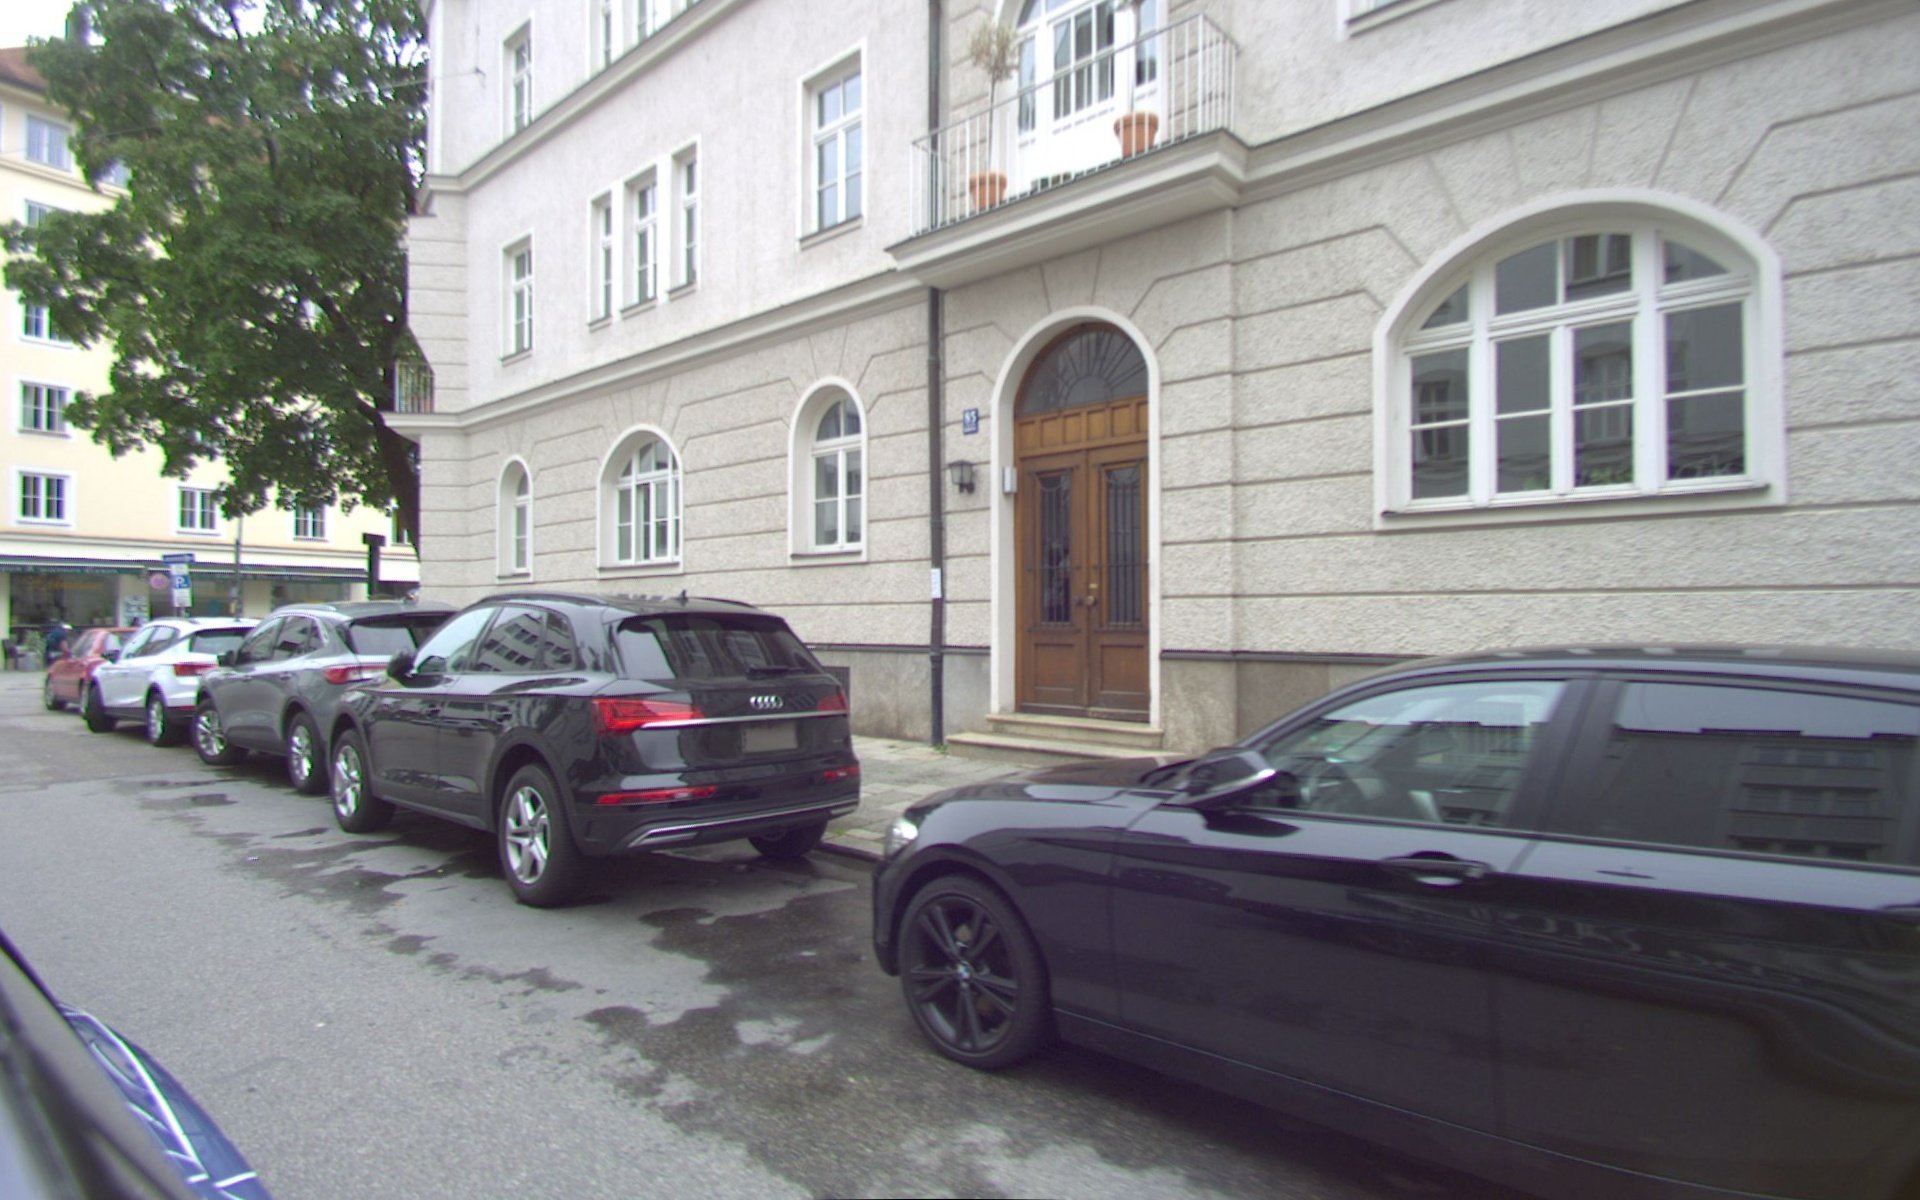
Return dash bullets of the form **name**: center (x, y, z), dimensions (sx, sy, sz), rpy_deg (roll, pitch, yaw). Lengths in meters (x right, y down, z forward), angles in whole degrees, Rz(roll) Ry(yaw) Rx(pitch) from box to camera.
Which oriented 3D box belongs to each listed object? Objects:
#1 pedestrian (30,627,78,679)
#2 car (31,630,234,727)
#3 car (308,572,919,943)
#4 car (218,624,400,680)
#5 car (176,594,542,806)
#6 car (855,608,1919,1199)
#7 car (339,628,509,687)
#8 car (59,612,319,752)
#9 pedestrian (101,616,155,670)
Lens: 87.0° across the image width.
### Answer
- **pedestrian**: center (-28.780, 1.675, 32.171), dimensions (0.907, 1.623, 0.778), rpy_deg (0, -1, -20)
- **car**: center (-13.670, 1.197, 16.634), dimensions (4.473, 1.403, 1.664), rpy_deg (-2, -2, 39)
- **car**: center (-2.497, 0.738, 6.587), dimensions (4.432, 1.611, 1.856), rpy_deg (-2, -2, 42)
- **car**: center (-20.624, 1.615, 32.255), dimensions (2.020, 1.494, 4.445), rpy_deg (-6, -4, 29)
- **car**: center (-6.129, 0.852, 10.138), dimensions (4.208, 1.690, 1.818), rpy_deg (-2, -2, 39)
- **car**: center (1.690, 0.759, 2.844), dimensions (4.091, 1.417, 1.637), rpy_deg (-1, -3, 42)
- **car**: center (-15.249, 1.577, 28.981), dimensions (1.788, 1.469, 3.957), rpy_deg (0, -1, 31)
- **car**: center (-10.189, 0.947, 13.300), dimensions (3.943, 1.580, 1.679), rpy_deg (-1, -1, 36)
- **pedestrian**: center (-26.950, 1.373, 32.796), dimensions (0.868, 1.689, 1.113), rpy_deg (-1, -1, 31)
